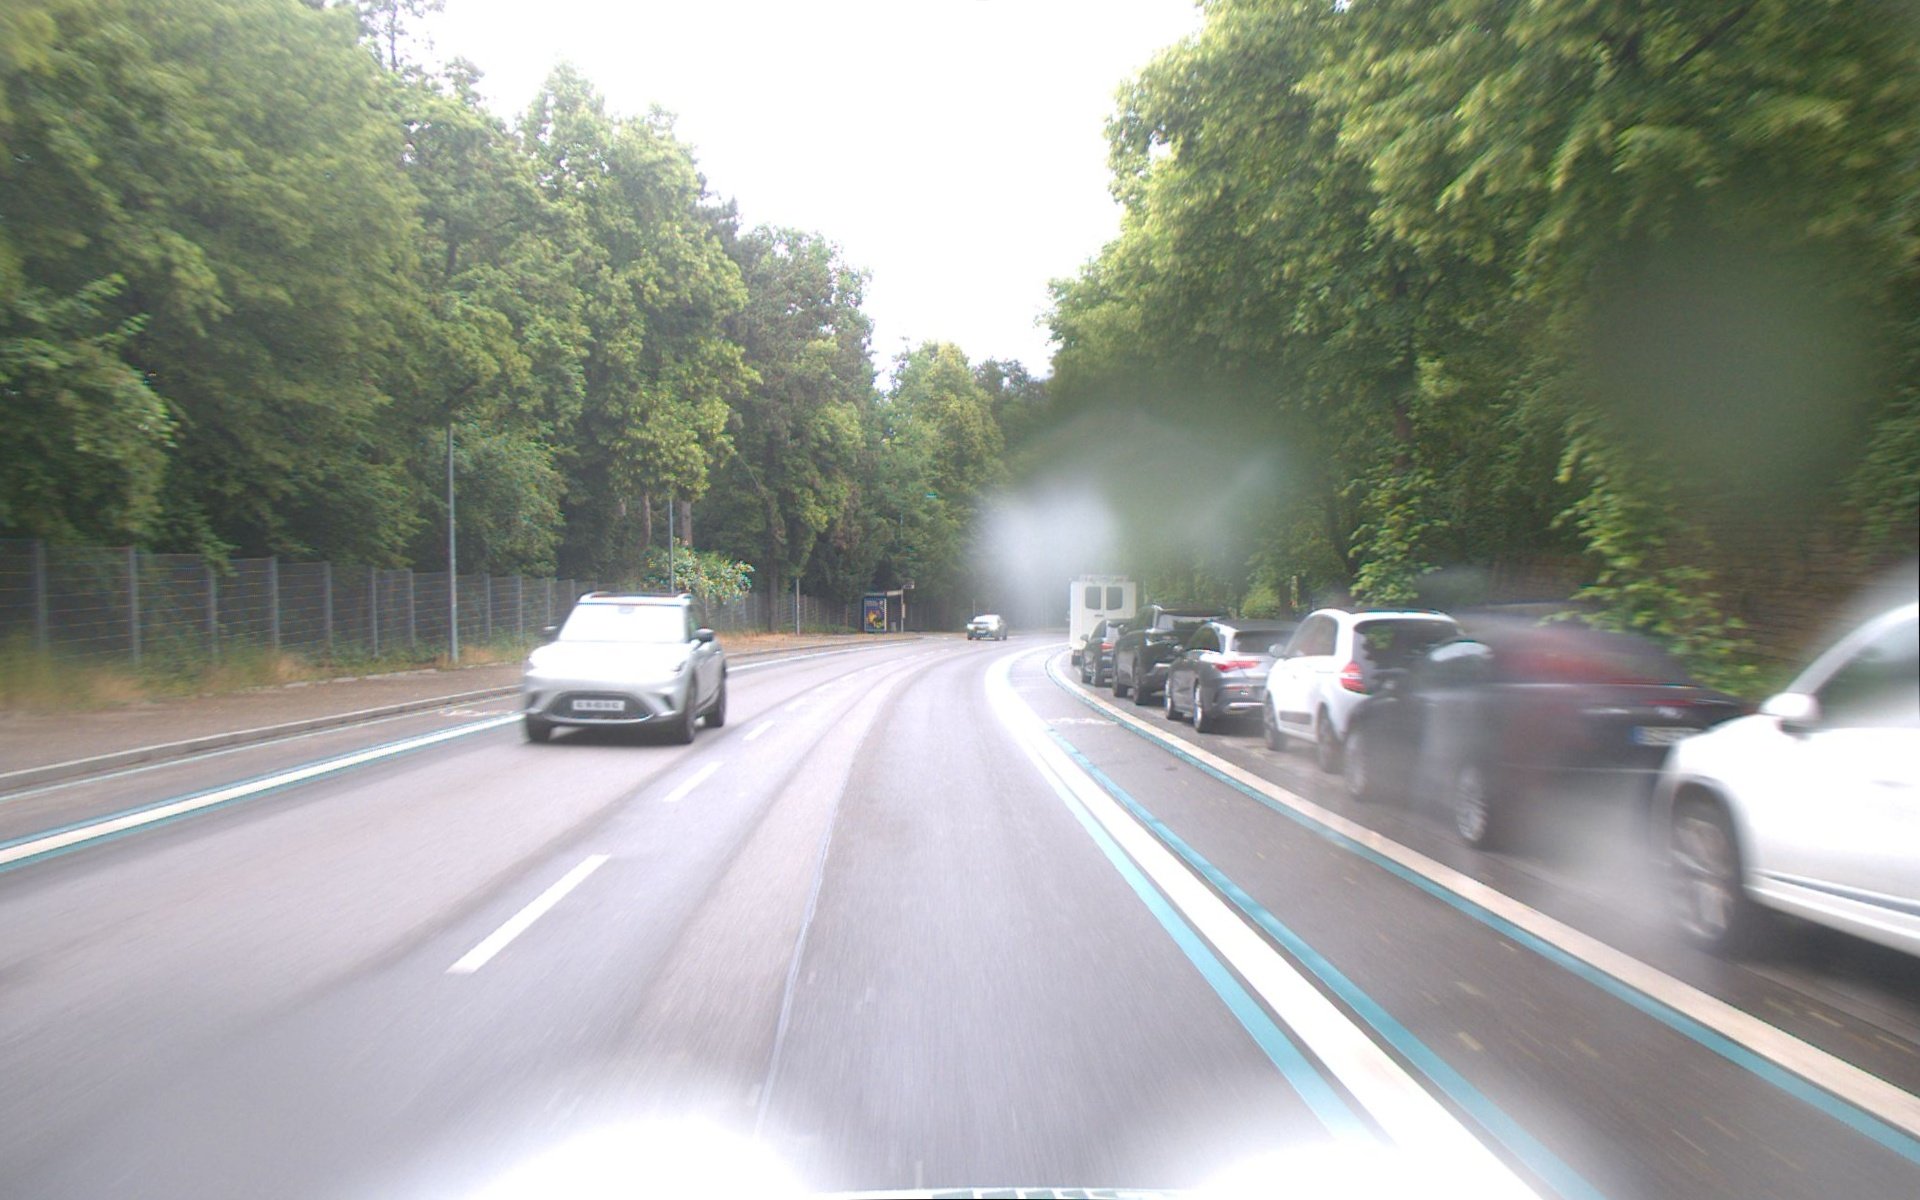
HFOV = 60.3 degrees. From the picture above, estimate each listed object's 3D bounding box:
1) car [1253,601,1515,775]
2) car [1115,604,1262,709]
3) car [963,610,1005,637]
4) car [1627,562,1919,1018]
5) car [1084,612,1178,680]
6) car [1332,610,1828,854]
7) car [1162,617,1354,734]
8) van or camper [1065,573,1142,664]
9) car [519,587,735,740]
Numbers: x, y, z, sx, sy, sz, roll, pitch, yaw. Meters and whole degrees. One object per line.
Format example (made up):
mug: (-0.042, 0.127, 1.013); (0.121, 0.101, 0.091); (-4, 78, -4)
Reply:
car: (4.230, 0.830, 17.060); (1.628, 1.562, 3.740); (1, -1, -2)
car: (3.883, 0.969, 28.772); (1.953, 1.674, 4.347); (0, -2, 0)
car: (1.388, 1.319, 93.750); (1.722, 1.462, 4.154); (0, 0, 9)
car: (4.297, 0.689, 6.218); (1.679, 1.647, 4.258); (0, 0, -3)
car: (3.700, 1.001, 36.301); (1.644, 1.400, 3.999); (0, -1, 0)
car: (4.098, 0.829, 11.830); (1.683, 1.400, 4.556); (0, -2, -2)
car: (3.829, 0.938, 21.952); (1.738, 1.372, 4.465); (1, -1, 0)
van or camper: (4.613, 0.586, 53.034); (2.268, 2.711, 6.386); (1, 0, 5)
car: (-3.756, 0.687, 19.337); (1.760, 1.604, 4.101); (0, -1, -1)
